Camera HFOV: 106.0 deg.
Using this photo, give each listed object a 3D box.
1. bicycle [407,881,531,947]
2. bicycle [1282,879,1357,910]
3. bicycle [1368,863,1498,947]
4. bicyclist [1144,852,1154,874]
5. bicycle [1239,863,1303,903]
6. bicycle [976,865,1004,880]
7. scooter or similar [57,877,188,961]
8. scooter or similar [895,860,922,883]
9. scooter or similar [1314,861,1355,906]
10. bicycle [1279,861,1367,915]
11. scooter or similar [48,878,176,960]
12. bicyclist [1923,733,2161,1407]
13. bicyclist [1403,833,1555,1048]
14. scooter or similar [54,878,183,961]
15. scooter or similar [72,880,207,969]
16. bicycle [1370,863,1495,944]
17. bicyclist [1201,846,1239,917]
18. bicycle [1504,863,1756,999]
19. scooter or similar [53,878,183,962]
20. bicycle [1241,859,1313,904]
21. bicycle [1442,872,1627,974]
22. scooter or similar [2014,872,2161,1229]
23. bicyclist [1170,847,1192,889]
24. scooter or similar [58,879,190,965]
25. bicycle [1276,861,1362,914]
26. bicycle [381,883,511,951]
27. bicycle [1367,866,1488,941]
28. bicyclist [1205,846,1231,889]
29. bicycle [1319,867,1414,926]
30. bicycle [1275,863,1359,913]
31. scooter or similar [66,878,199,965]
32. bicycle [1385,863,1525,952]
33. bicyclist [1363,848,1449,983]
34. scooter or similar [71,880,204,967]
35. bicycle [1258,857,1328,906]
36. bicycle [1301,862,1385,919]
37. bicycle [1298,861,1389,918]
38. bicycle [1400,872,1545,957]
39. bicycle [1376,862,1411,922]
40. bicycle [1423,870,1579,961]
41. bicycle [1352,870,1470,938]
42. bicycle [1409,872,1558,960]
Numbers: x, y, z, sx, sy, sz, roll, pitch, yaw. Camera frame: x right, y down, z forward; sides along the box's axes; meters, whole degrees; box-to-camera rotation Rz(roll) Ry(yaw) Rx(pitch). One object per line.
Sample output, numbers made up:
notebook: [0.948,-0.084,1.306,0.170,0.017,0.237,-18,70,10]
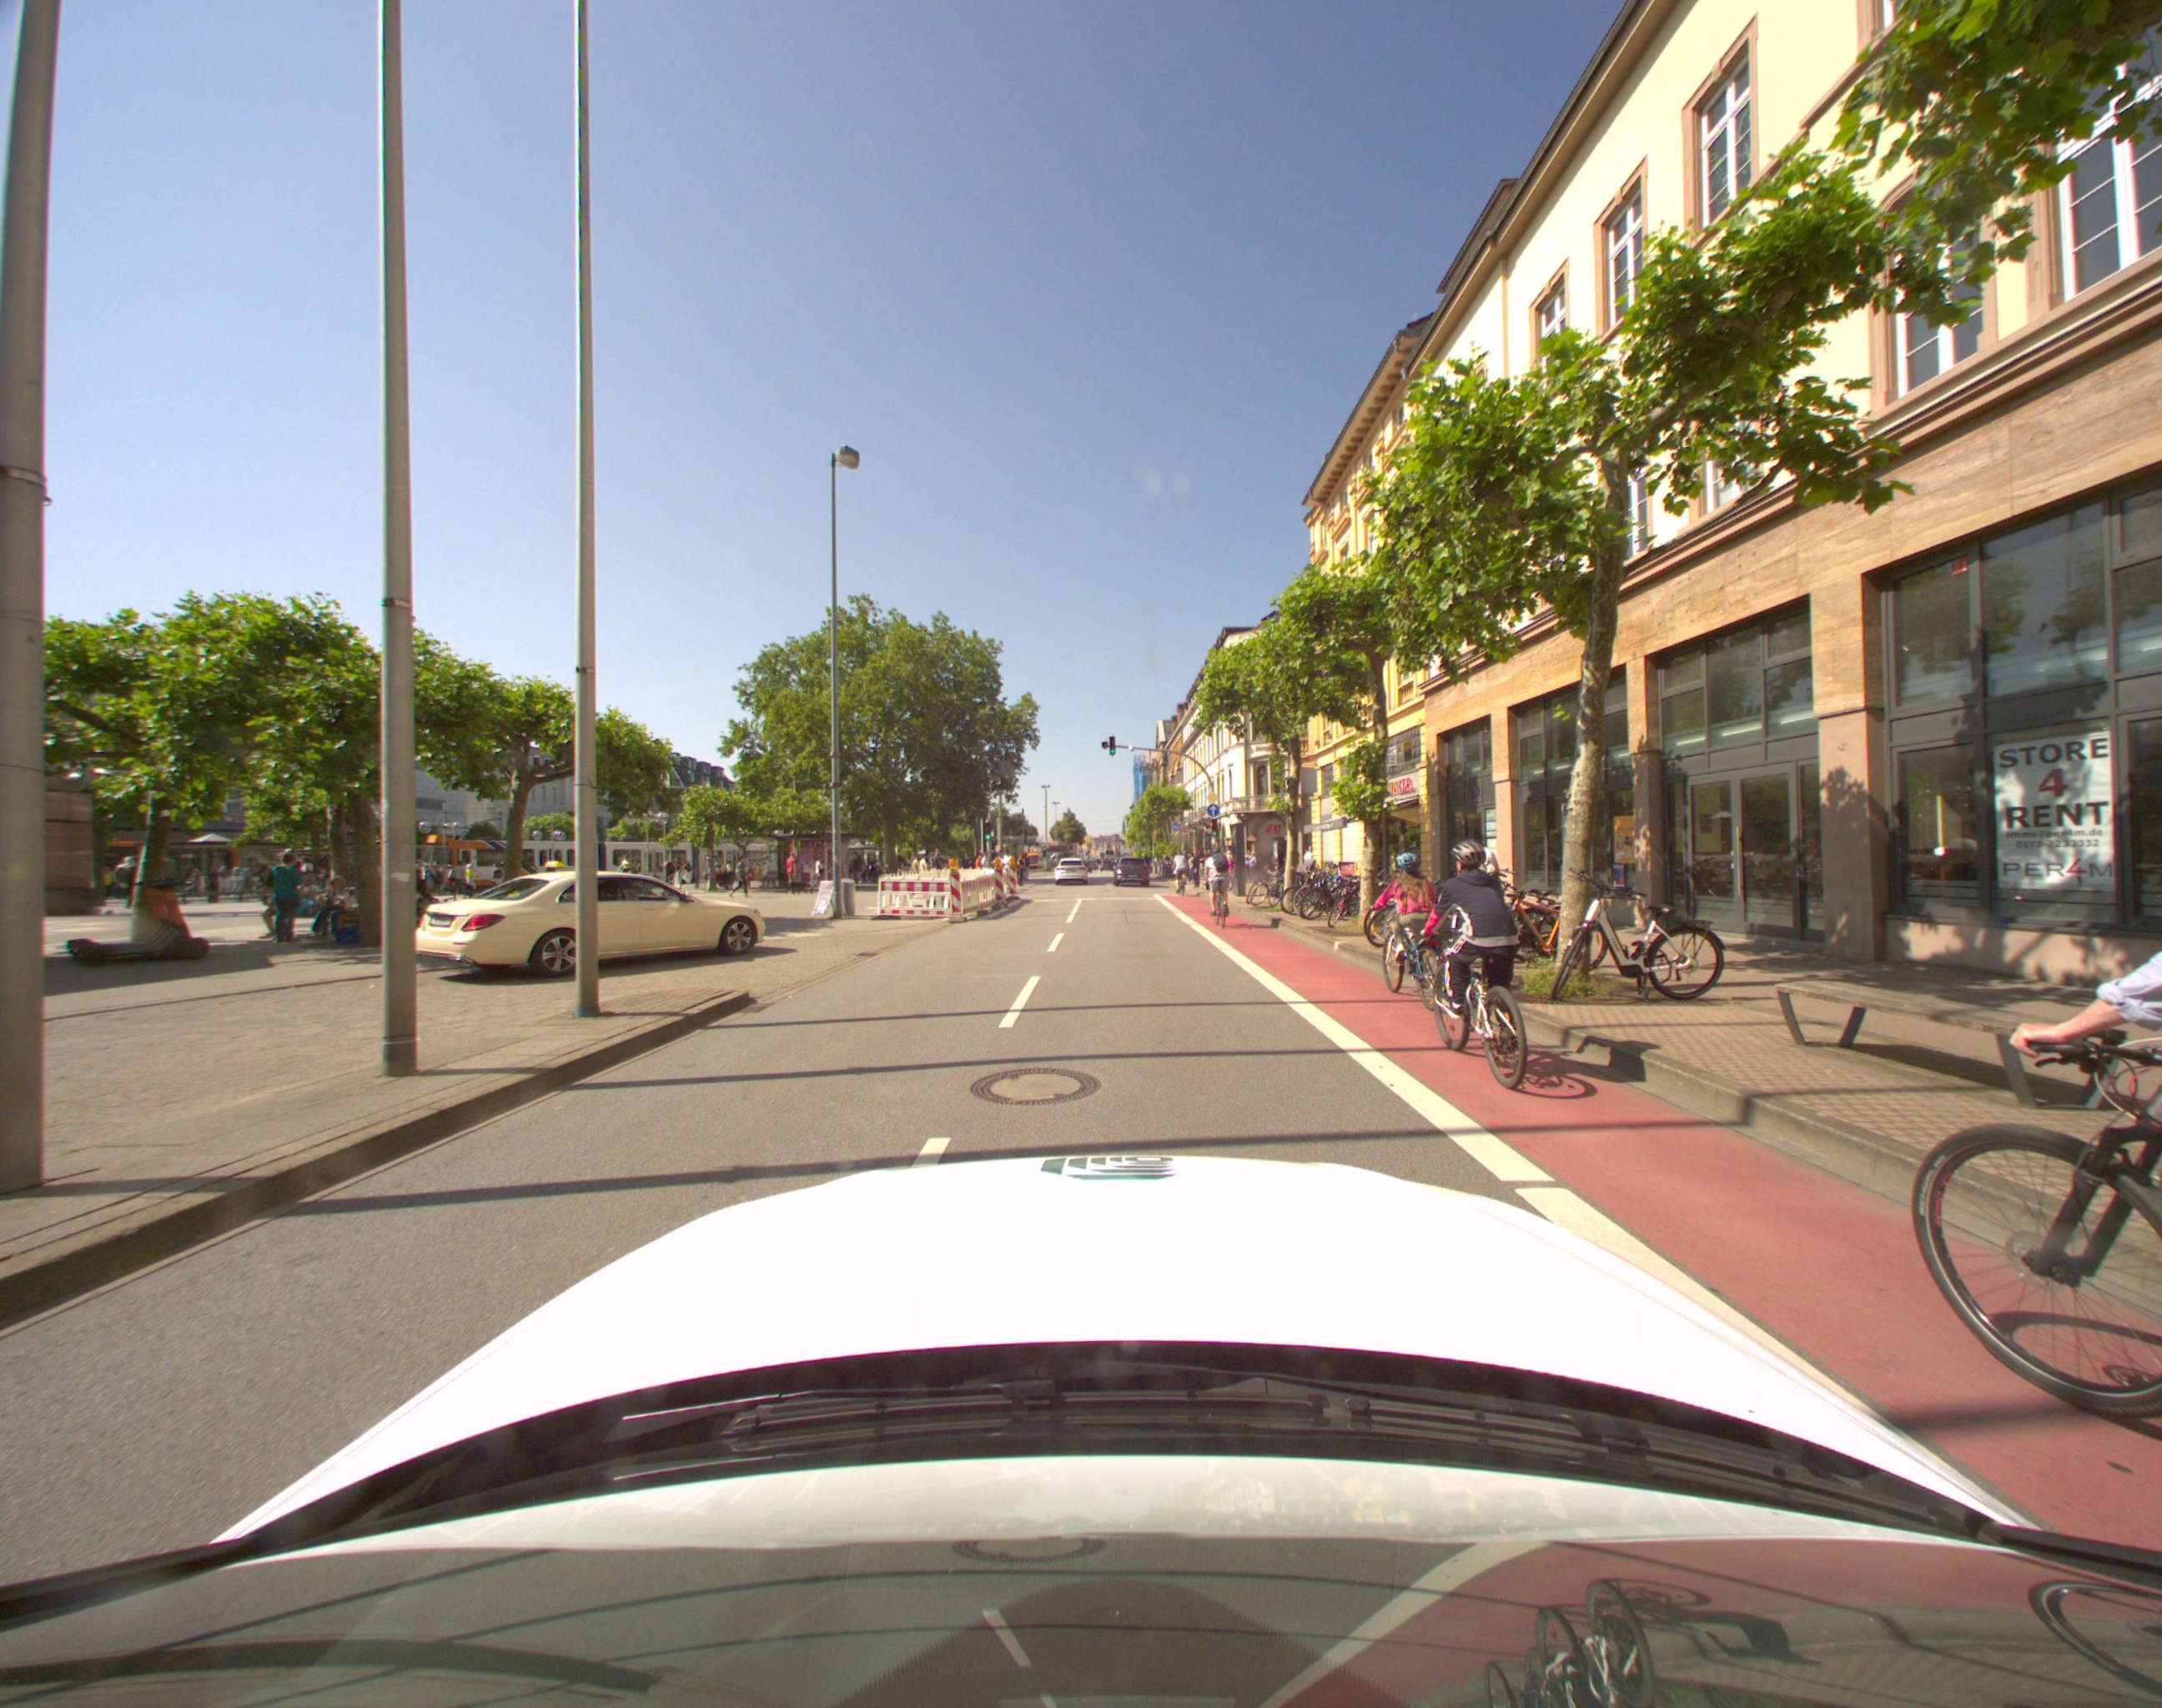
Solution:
bicycle: [-11.040,1.077,14.712,1.777,1.132,0.562,-1,0,-2]
bicycle: [6.155,1.028,21.022,1.850,0.716,0.655,-1,0,-20]
bicycle: [5.245,0.756,12.177,1.721,1.217,0.478,-1,0,3]
bicyclist: [4.694,0.619,56.296,0.645,1.551,0.818,-1,-1,1]
bicycle: [5.682,0.869,24.415,1.777,1.122,0.562,-2,0,-2]
bicycle: [-6.998,1.402,62.474,2.082,1.089,0.682,-1,-1,-10]
scooter or similar: [-14.873,0.974,12.673,0.231,1.214,1.310,0,0,21]
scooter or similar: [-10.788,1.104,50.834,1.264,1.421,1.045,-1,-1,32]
scooter or similar: [6.921,0.786,22.291,0.422,1.178,1.224,0,0,-19]
bicycle: [5.511,0.777,18.616,1.836,1.201,0.545,-1,0,3]
scooter or similar: [-15.517,1.013,13.078,0.262,1.214,1.310,0,0,21]
bicyclist: [2.671,0.465,1.767,0.696,1.446,0.960,1,-1,-2]
bicyclist: [2.829,0.584,5.861,0.696,1.440,0.790,1,-1,-2]
scooter or similar: [-15.285,1.009,12.971,0.231,1.214,1.310,0,0,21]
scooter or similar: [-14.034,1.015,12.175,0.231,1.214,1.310,0,0,21]
bicycle: [5.446,0.760,12.664,1.721,1.217,0.478,-1,0,3]
bicyclist: [3.005,0.582,17.678,0.628,1.481,1.198,-1,0,1]
bicycle: [5.274,0.724,7.921,1.923,1.248,0.737,-1,0,3]
scooter or similar: [-15.095,1.001,12.803,0.231,1.214,1.310,0,0,21]
bicycle: [5.676,0.774,23.535,1.938,1.257,0.701,-1,0,-18]
bicycle: [5.188,0.776,9.404,1.721,1.109,0.737,-1,0,3]
scooter or similar: [4.655,0.717,3.018,1.465,1.274,0.672,0,-1,12]
bicyclist: [4.006,0.567,32.532,0.771,1.635,0.851,-1,0,2]
scooter or similar: [-14.670,1.008,12.523,0.231,1.214,1.310,0,0,21]
bicycle: [5.564,0.785,19.121,1.836,1.201,0.609,-1,0,3]
bicycle: [-10.908,1.073,14.021,1.777,1.105,0.562,-1,0,-2]
bicycle: [5.571,0.788,13.147,1.721,1.162,0.478,-1,0,3]
bicyclist: [5.780,0.568,34.406,0.577,1.797,0.848,-3,0,-33]
bicycle: [5.540,0.822,15.872,1.642,1.095,0.607,-1,0,3]
bicycle: [5.702,0.810,19.749,1.836,1.164,0.660,-1,0,3]
scooter or similar: [-14.444,0.999,12.441,0.231,1.214,1.310,0,0,21]
bicycle: [5.230,0.743,11.452,1.721,1.217,0.478,-1,0,3]
bicyclist: [3.426,0.627,8.624,0.598,1.358,0.720,-1,-1,-1]
scooter or similar: [-14.238,1.019,12.328,0.231,1.214,1.310,0,0,21]
bicycle: [5.964,0.762,22.931,1.826,1.309,0.684,-1,0,-19]
bicycle: [5.582,0.772,17.395,1.642,1.201,0.475,-1,0,3]
bicycle: [5.723,0.774,17.806,1.836,1.201,0.475,-1,0,3]
bicycle: [5.302,0.816,11.088,1.721,1.109,0.478,-1,0,3]
bicycle: [6.575,0.766,17.180,0.469,1.188,1.660,-1,0,13]
bicycle: [5.265,0.768,10.256,1.721,1.109,0.403,-1,0,3]
bicycle: [5.504,0.822,13.659,1.721,1.095,0.607,-1,0,3]
bicycle: [5.254,0.799,10.670,1.721,1.109,0.403,-1,0,3]
